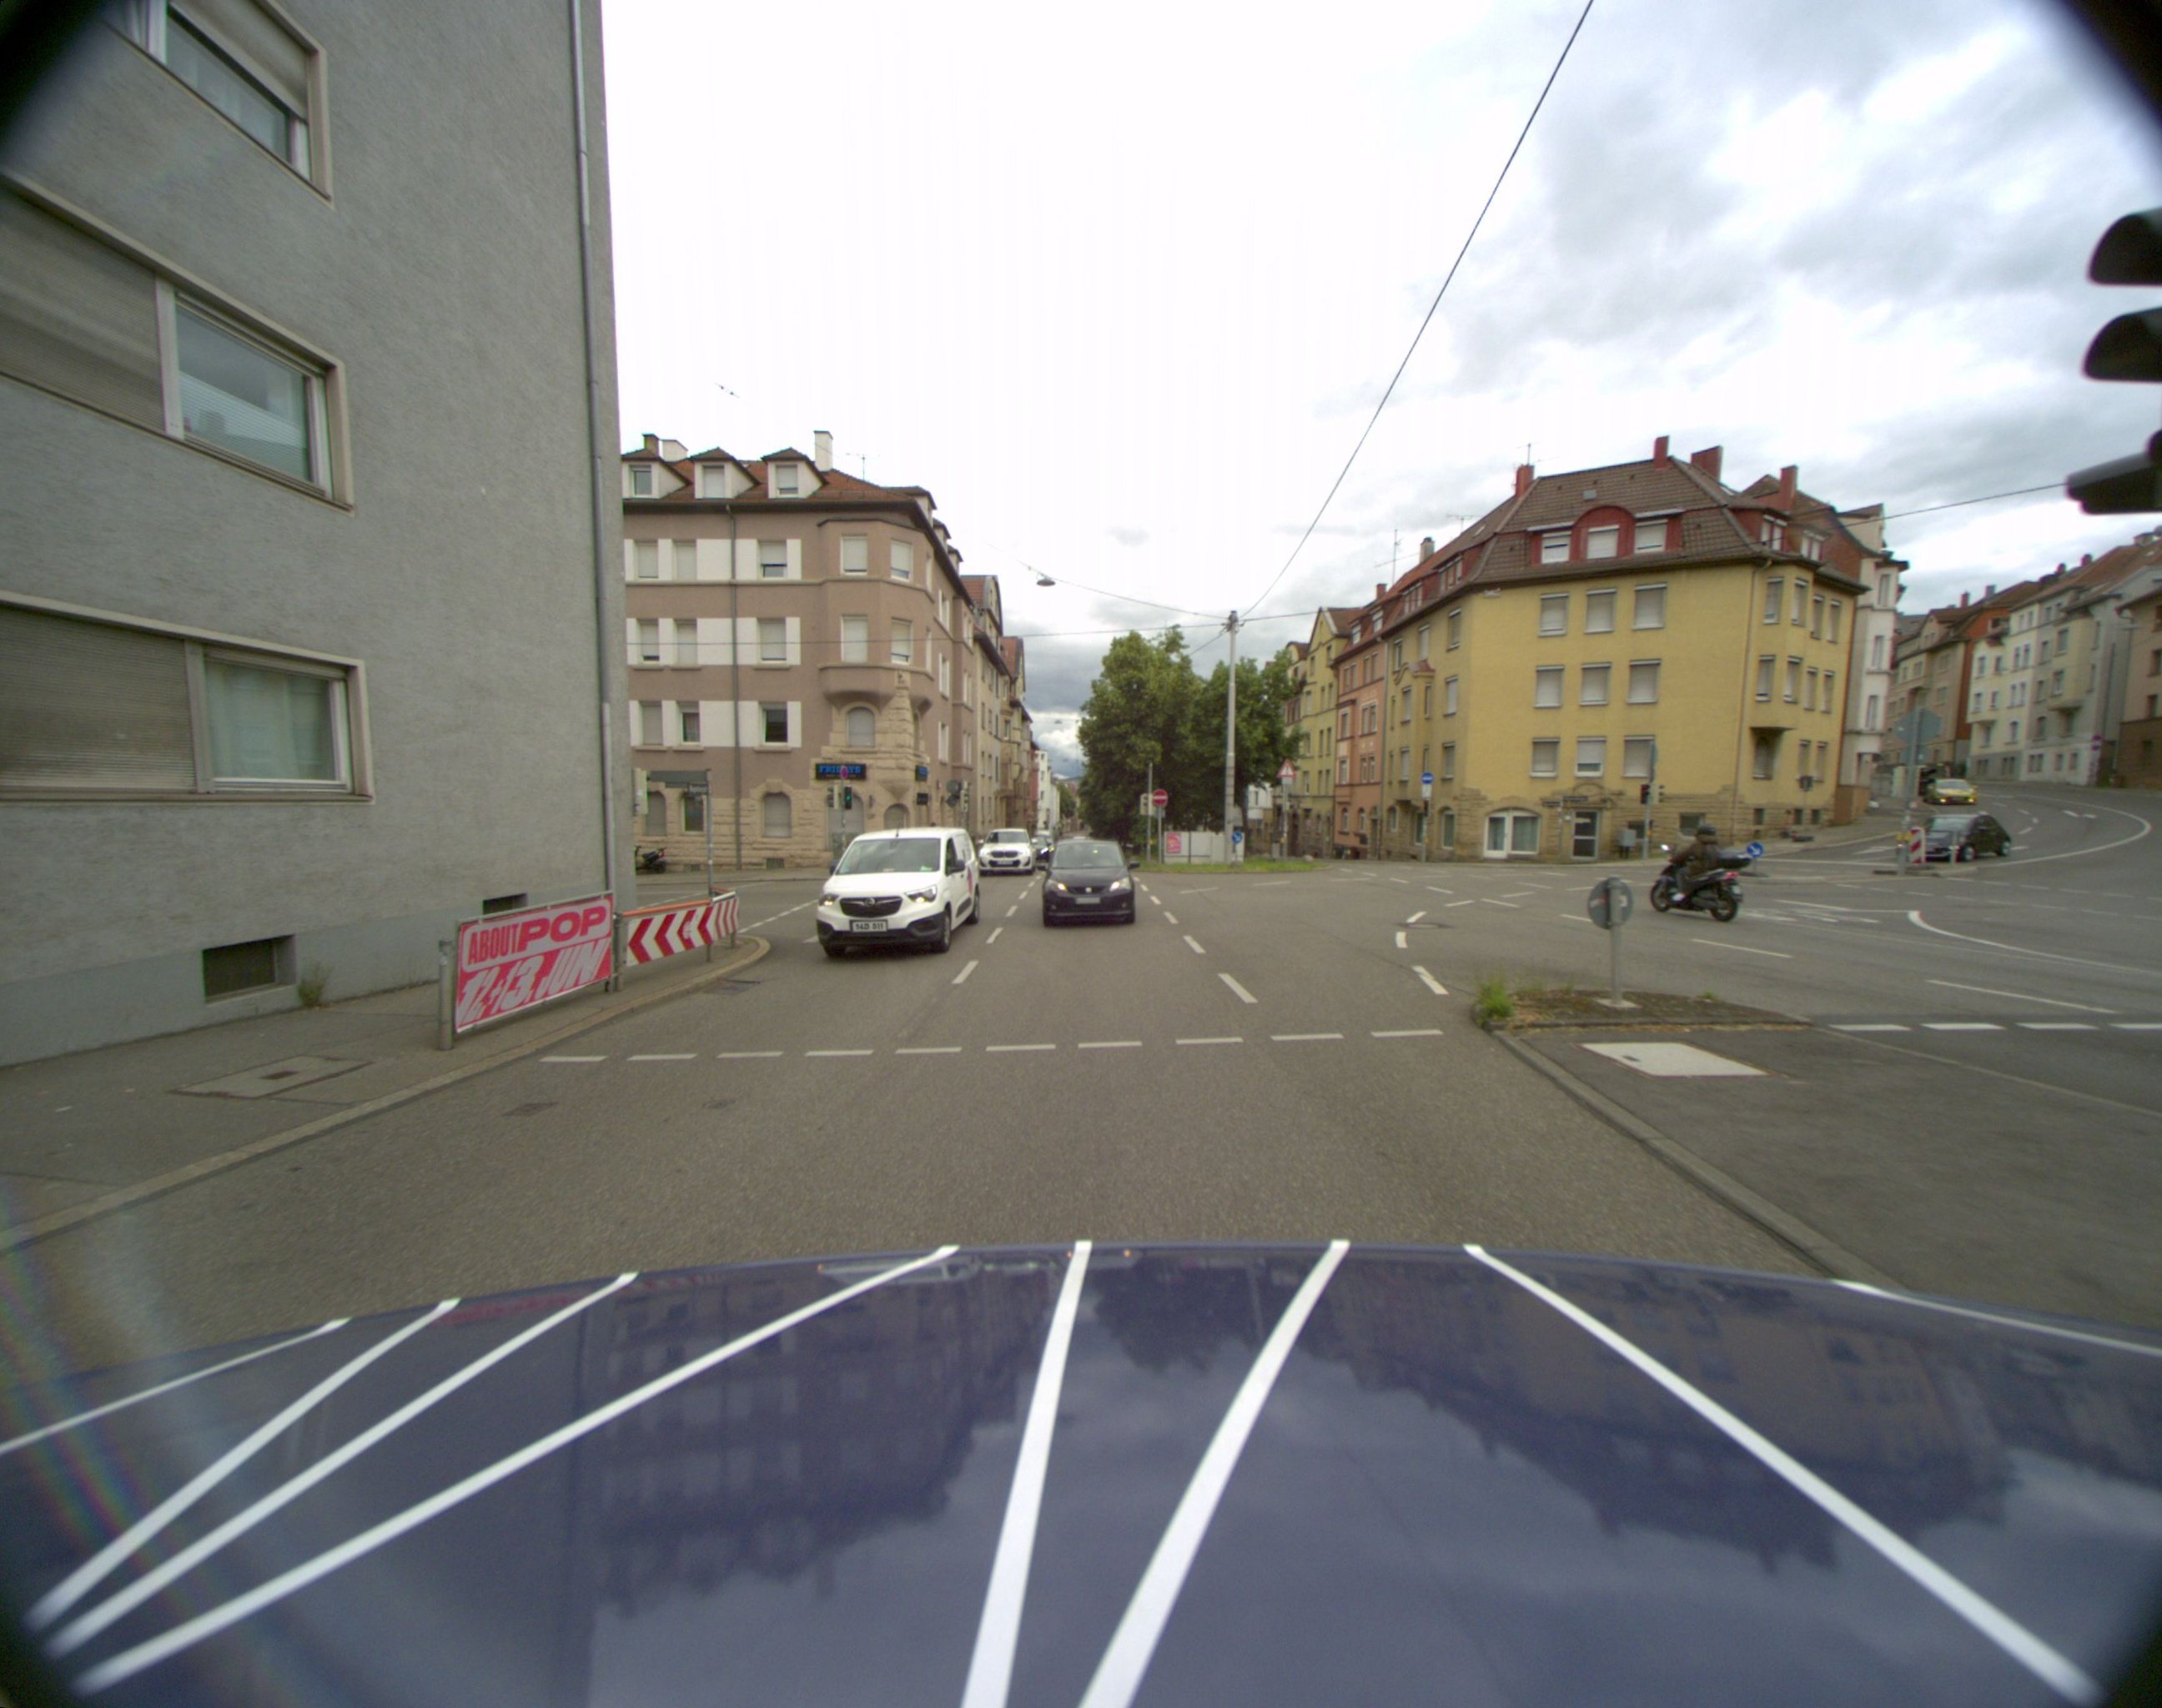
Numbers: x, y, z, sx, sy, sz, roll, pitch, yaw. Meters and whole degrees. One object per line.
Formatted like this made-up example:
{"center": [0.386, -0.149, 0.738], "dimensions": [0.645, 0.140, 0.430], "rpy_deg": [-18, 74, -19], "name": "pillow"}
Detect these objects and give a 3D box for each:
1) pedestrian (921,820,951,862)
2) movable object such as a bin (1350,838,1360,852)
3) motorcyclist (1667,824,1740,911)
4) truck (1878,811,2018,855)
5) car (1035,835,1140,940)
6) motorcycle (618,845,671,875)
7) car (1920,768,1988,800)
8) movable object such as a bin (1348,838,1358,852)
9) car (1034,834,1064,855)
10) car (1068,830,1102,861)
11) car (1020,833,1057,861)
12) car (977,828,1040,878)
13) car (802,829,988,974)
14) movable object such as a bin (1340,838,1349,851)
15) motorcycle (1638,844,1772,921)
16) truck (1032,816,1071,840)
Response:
{"center": [-5.785, -0.517, 30.426], "dimensions": [0.733, 1.638, 1.006], "rpy_deg": [0, 2, 21], "name": "pedestrian"}
{"center": [17.989, -0.586, 49.852], "dimensions": [0.487, 0.860, 0.448], "rpy_deg": [1, 2, 6], "name": "movable object such as a bin"}
{"center": [10.768, 0.221, 13.159], "dimensions": [0.674, 1.467, 0.662], "rpy_deg": [0, 3, 2], "name": "motorcyclist"}
{"center": [29.524, -0.729, 25.875], "dimensions": [4.004, 1.410, 1.849], "rpy_deg": [-1, 2, -21], "name": "truck"}
{"center": [0.097, 0.502, 14.227], "dimensions": [1.604, 1.449, 3.681], "rpy_deg": [-4, 4, 0], "name": "car"}
{"center": [-16.992, 0.226, 29.579], "dimensions": [1.682, 1.077, 0.514], "rpy_deg": [-1, 6, 2], "name": "motorcycle"}
{"center": [53.873, -4.284, 46.971], "dimensions": [1.857, 1.711, 3.863], "rpy_deg": [2, 2, 36], "name": "car"}
{"center": [18.089, -0.605, 50.524], "dimensions": [0.487, 0.860, 0.448], "rpy_deg": [1, 2, 6], "name": "movable object such as a bin"}
{"center": [-2.307, -0.711, 55.693], "dimensions": [1.841, 1.478, 3.999], "rpy_deg": [1, 2, 2], "name": "car"}
{"center": [0.214, -0.523, 43.872], "dimensions": [1.784, 1.584, 3.531], "rpy_deg": [2, 3, -2], "name": "car"}
{"center": [-2.319, -0.409, 42.559], "dimensions": [1.780, 1.434, 4.162], "rpy_deg": [-2, 1, 0], "name": "car"}
{"center": [-2.507, -0.076, 27.196], "dimensions": [1.780, 1.598, 4.162], "rpy_deg": [-2, 1, 0], "name": "car"}
{"center": [-2.769, 0.557, 12.534], "dimensions": [1.788, 1.780, 4.841], "rpy_deg": [-1, 3, 0], "name": "car"}
{"center": [18.140, -0.660, 52.370], "dimensions": [0.487, 0.860, 0.448], "rpy_deg": [1, 2, 6], "name": "movable object such as a bin"}
{"center": [10.774, 0.440, 13.240], "dimensions": [0.546, 1.178, 2.204], "rpy_deg": [0, 3, 2], "name": "motorcycle"}
{"center": [-3.588, -3.197, 94.984], "dimensions": [2.549, 2.892, 7.784], "rpy_deg": [2, 2, 15], "name": "truck"}
